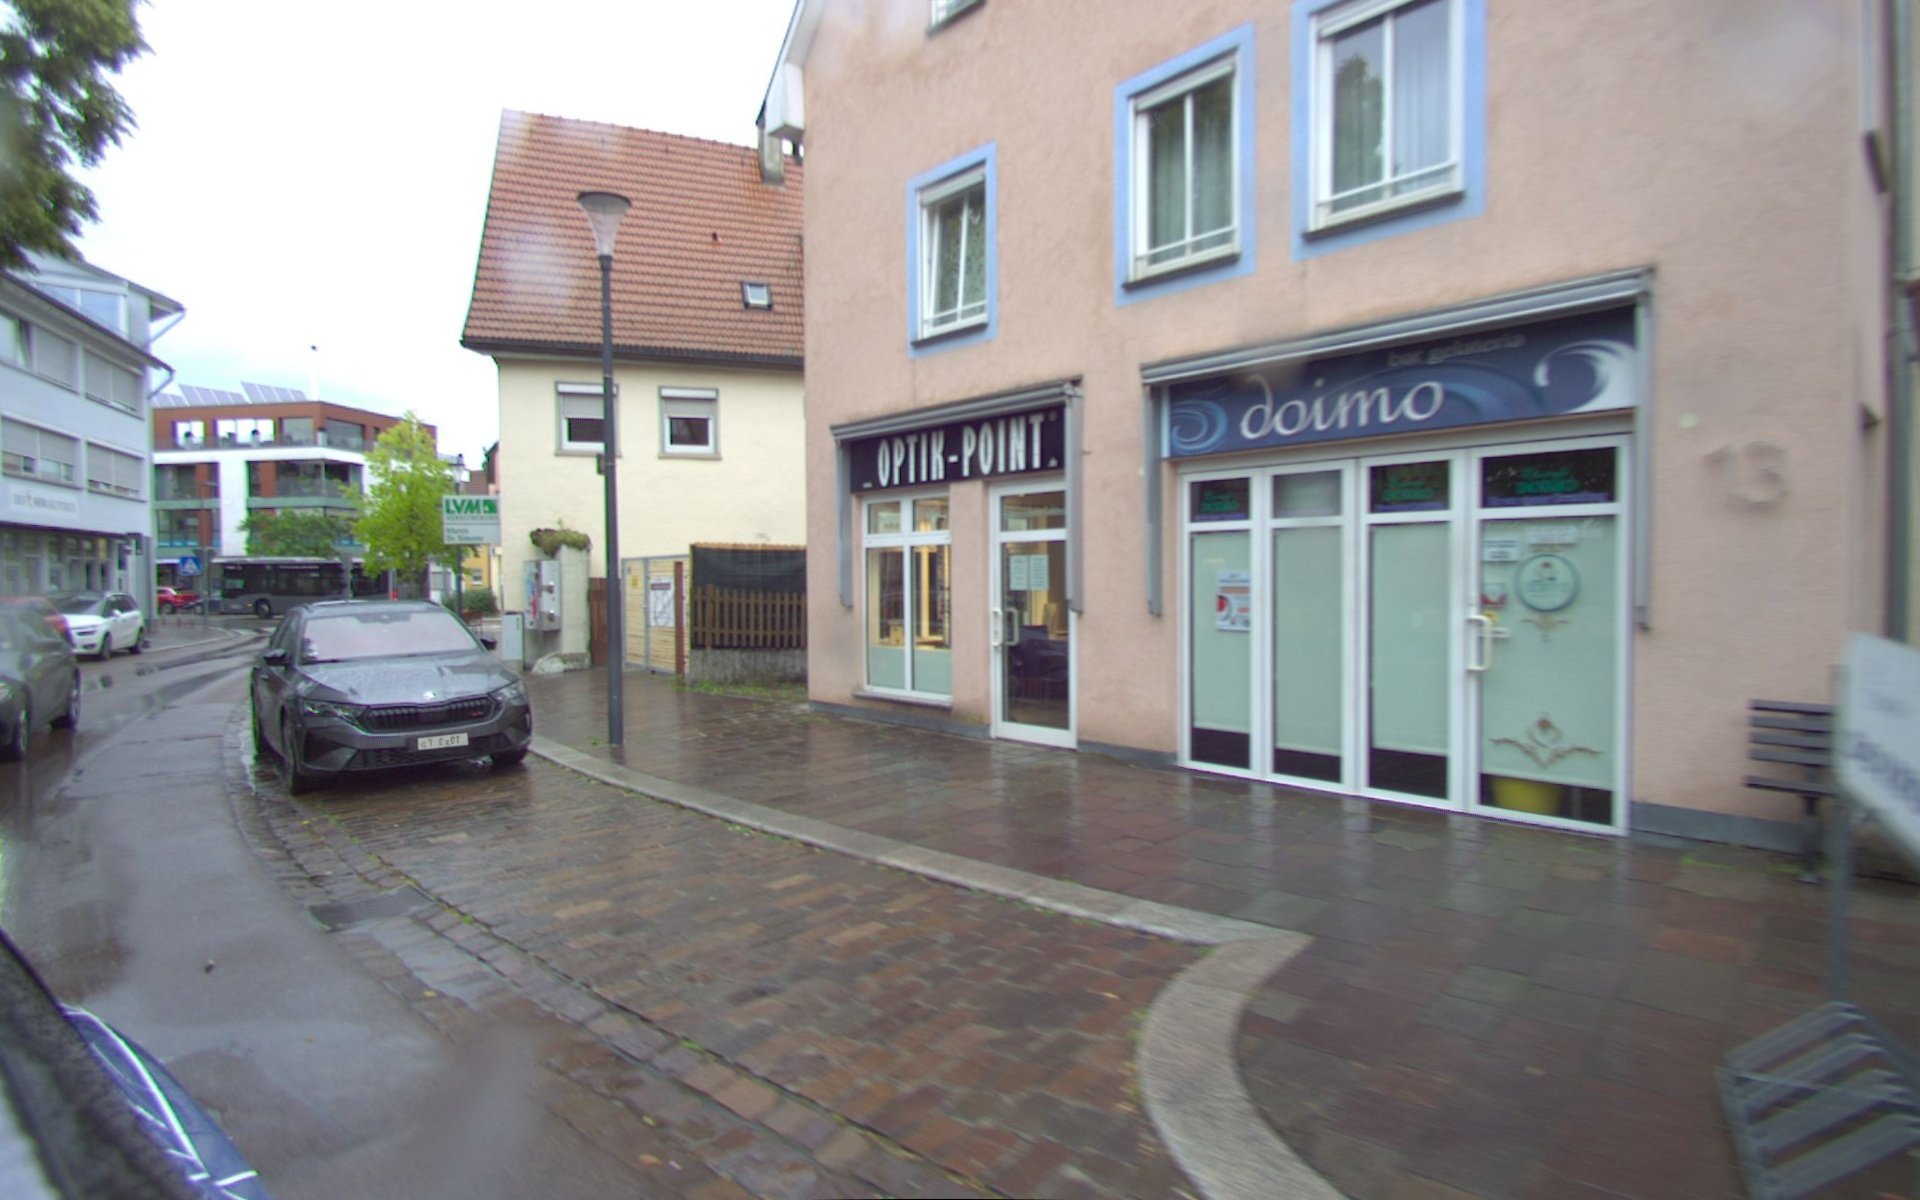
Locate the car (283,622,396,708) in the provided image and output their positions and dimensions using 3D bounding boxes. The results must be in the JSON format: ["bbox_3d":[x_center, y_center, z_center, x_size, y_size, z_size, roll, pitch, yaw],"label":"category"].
[{"bbox_3d":[-11.713,1.140,19.243,1.666,1.434,3.828,1,-1,-30],"label":"car"}]

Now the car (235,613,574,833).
[{"bbox_3d":[-5.294,0.878,9.314,1.968,1.465,4.382,1,0,-39],"label":"car"}]

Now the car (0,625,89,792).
[{"bbox_3d":[-10.153,0.967,9.837,1.966,1.417,4.906,0,-1,-34],"label":"car"}]

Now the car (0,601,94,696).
[{"bbox_3d":[-18.916,0.891,19.998,1.666,1.702,3.971,1,0,-24],"label":"car"}]

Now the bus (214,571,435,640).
[{"bbox_3d":[-31.964,0.232,50.919,10.582,3.325,2.670,0,0,12],"label":"bus"}]

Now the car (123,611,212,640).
[{"bbox_3d":[-46.089,1.460,58.895,3.949,1.586,1.717,0,0,5],"label":"car"}]

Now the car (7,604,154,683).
[{"bbox_3d":[-21.074,0.974,24.450,1.666,1.702,4.292,1,0,-27],"label":"car"}]

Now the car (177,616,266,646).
[{"bbox_3d":[-42.127,1.754,57.761,3.949,1.586,1.717,0,0,5],"label":"car"}]
